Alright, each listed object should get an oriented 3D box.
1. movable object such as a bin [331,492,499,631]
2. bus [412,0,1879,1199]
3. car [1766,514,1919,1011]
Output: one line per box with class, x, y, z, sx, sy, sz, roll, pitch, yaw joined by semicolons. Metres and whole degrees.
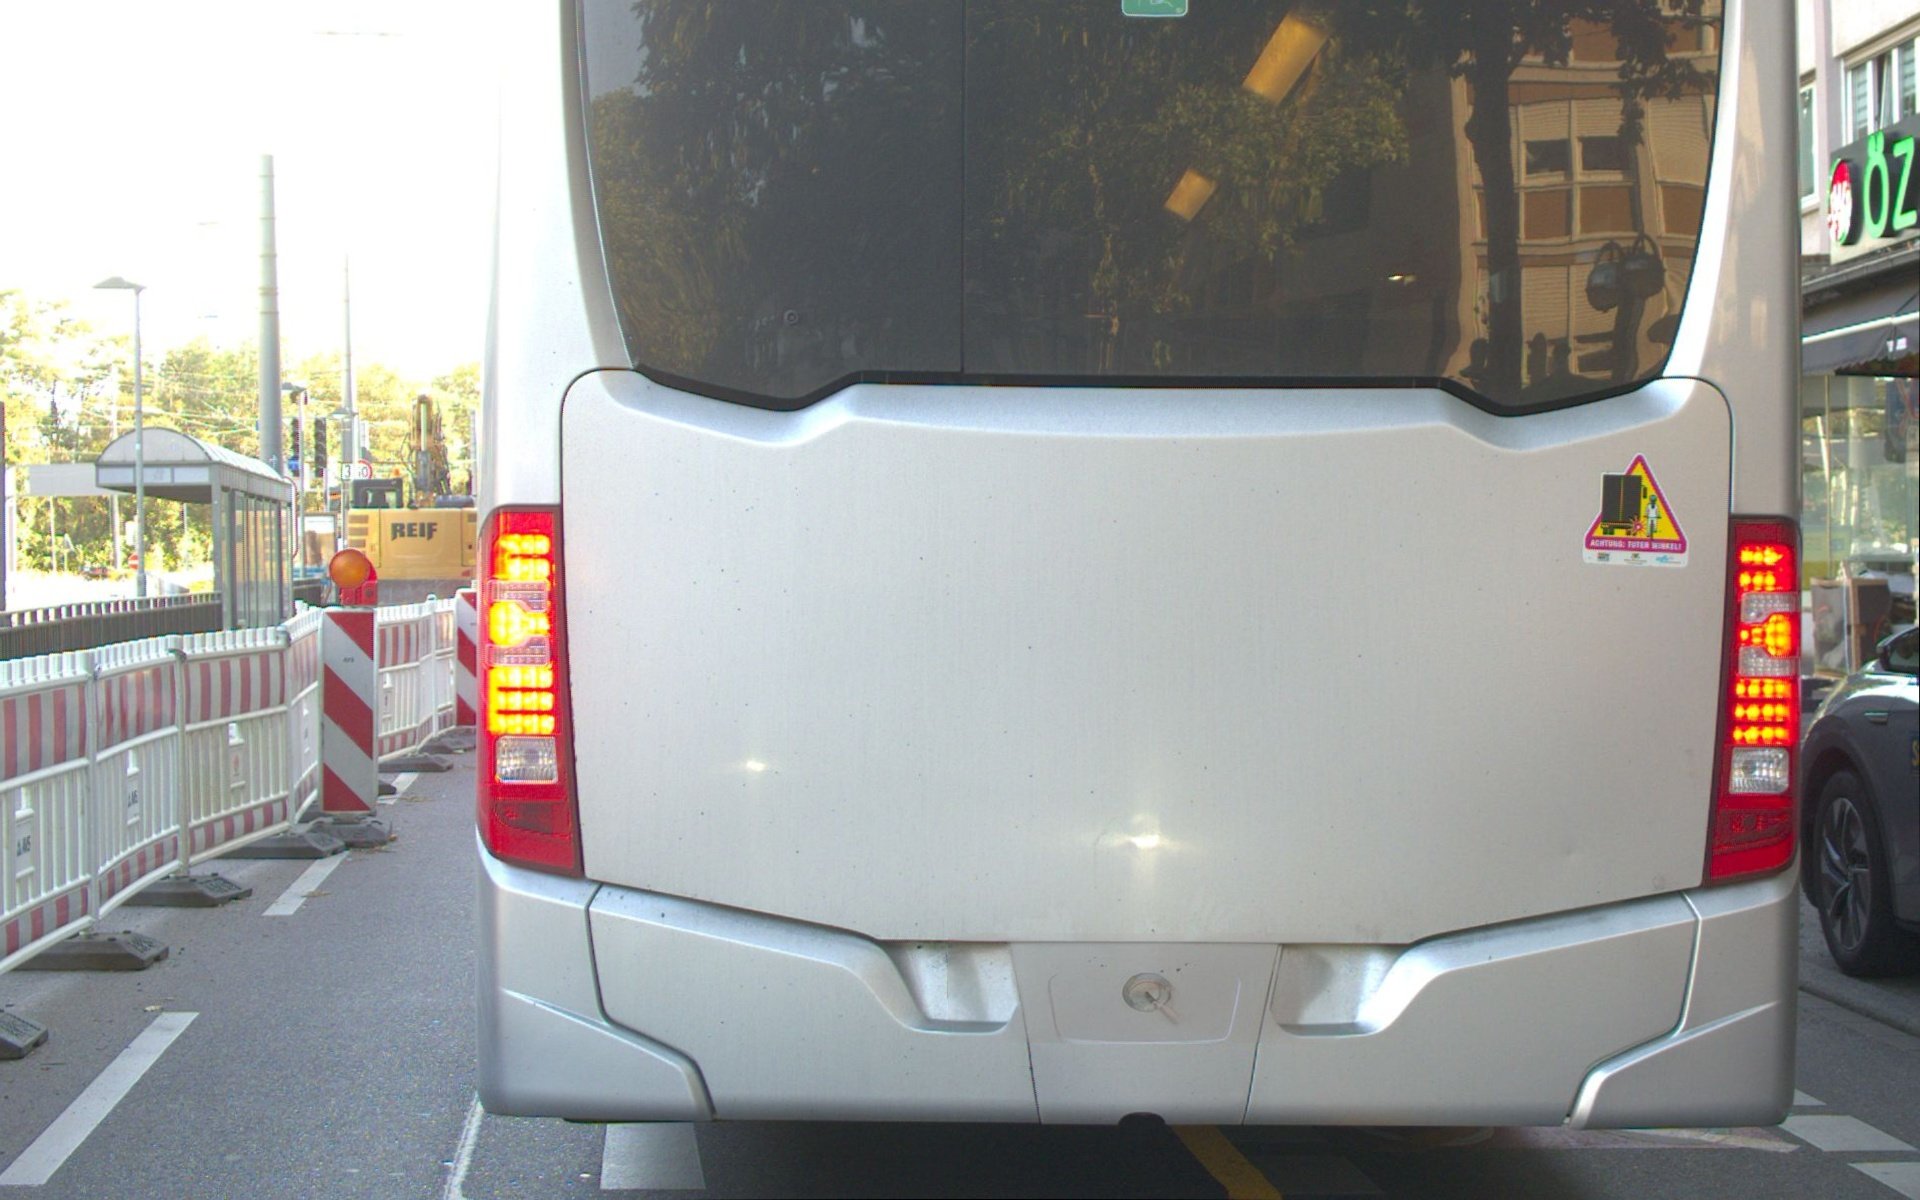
movable object such as a bin;-10.043;-0.718;63.680;2.806;2.453;4.001;-1;1;-5
bus;0.306;-0.287;11.266;2.608;3.159;10.292;0;1;0
car;3.998;0.496;10.312;1.739;1.592;4.300;-3;1;-5
